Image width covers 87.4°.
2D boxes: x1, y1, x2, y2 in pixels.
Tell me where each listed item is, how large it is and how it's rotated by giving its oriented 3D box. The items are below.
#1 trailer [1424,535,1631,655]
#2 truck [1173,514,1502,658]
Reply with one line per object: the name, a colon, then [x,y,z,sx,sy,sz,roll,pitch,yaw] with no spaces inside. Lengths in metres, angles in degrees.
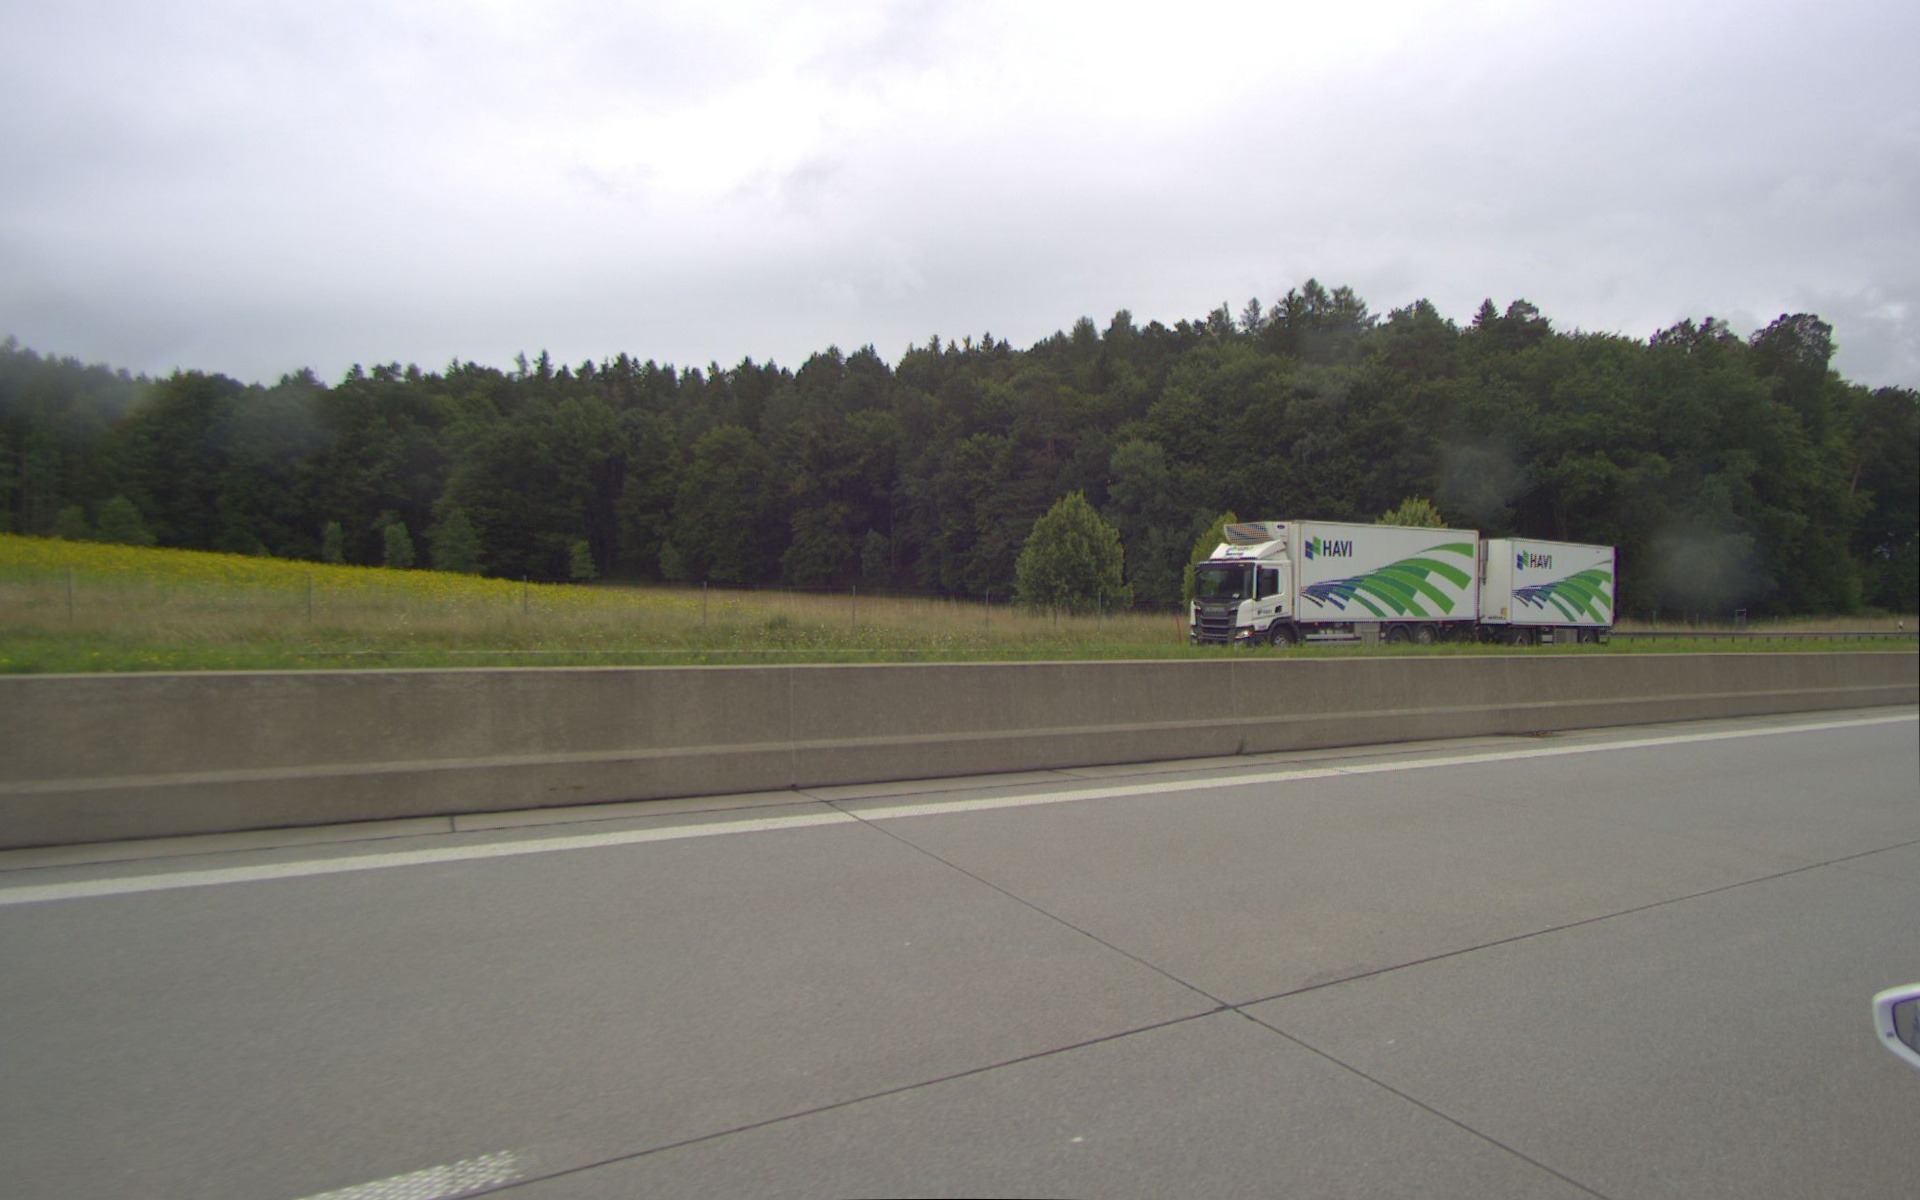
trailer: [20.039,-0.140,35.347,7.622,3.833,2.806,1,1,-30]
truck: [11.775,-0.287,30.687,11.213,3.823,2.800,1,0,-29]
